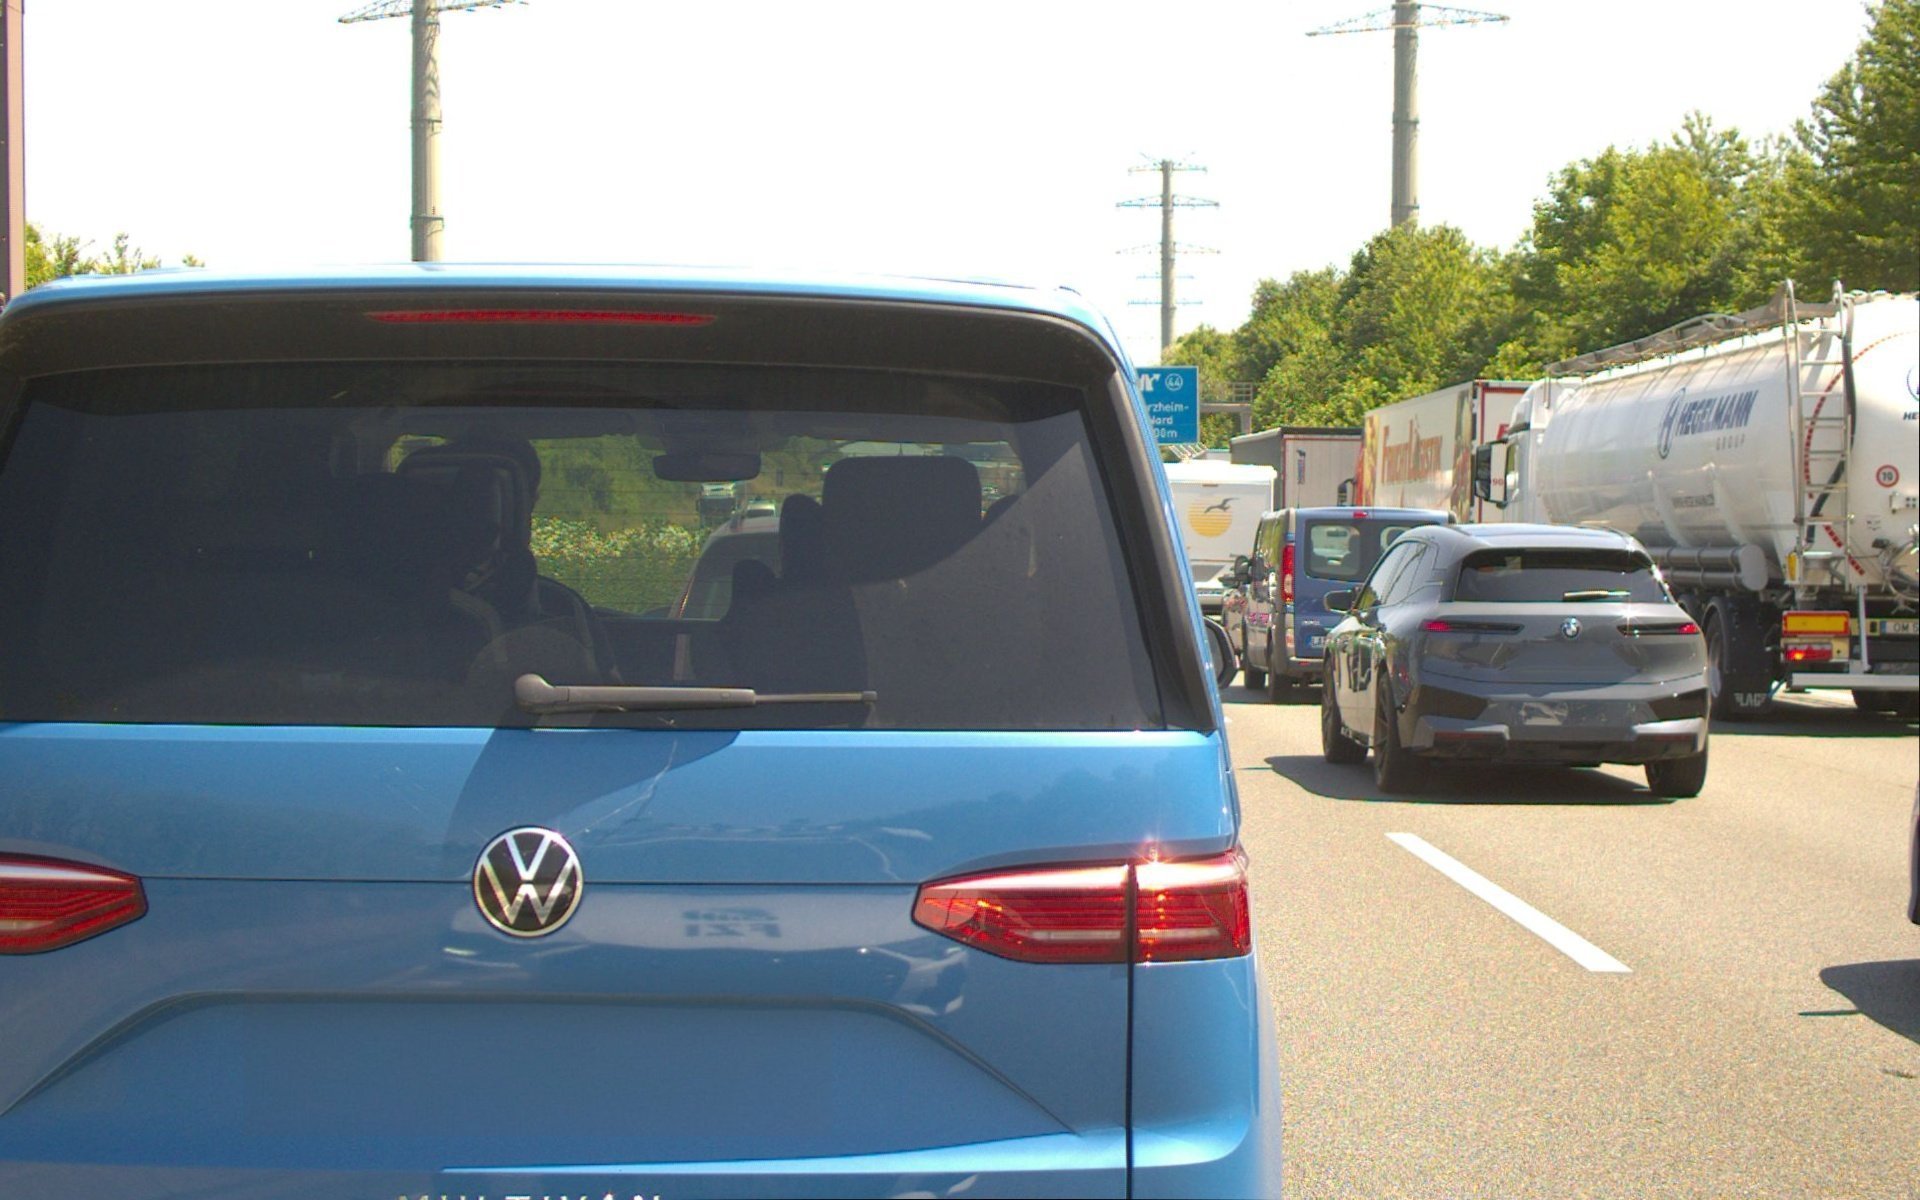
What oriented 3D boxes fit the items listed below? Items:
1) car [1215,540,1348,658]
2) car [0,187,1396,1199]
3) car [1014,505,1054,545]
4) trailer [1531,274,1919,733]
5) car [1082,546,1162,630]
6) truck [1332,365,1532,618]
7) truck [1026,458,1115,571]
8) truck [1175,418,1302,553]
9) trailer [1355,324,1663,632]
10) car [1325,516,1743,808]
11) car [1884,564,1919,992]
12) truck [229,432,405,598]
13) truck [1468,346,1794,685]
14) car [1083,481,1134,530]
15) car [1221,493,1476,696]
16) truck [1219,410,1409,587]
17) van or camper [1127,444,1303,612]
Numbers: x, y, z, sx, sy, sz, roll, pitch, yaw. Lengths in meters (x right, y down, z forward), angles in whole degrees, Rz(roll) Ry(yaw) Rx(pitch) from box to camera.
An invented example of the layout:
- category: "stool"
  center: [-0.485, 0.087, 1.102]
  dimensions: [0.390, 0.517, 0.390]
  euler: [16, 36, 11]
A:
- category: "car"
  center: [4.106, -0.016, 44.297]
  dimensions: [1.360, 1.415, 3.884]
  euler: [-1, 0, 1]
- category: "car"
  center: [-0.502, 0.458, 5.807]
  dimensions: [1.920, 1.880, 4.000]
  euler: [1, 1, 0]
- category: "car"
  center: [3.994, -4.024, 186.031]
  dimensions: [1.993, 2.118, 4.000]
  euler: [0, 0, -1]
- category: "trailer"
  center: [8.133, -0.890, 34.498]
  dimensions: [2.761, 3.831, 11.487]
  euler: [0, 1, -1]
- category: "car"
  center: [4.003, -0.296, 85.377]
  dimensions: [1.836, 1.992, 4.000]
  euler: [-1, 0, 1]
- category: "truck"
  center: [8.621, -1.947, 63.327]
  dimensions: [2.912, 4.453, 5.143]
  euler: [0, 1, -1]
- category: "truck"
  center: [3.784, -2.888, 119.677]
  dimensions: [2.895, 3.753, 10.140]
  euler: [0, 1, 1]
- category: "truck"
  center: [8.305, -3.327, 104.118]
  dimensions: [2.895, 3.753, 13.345]
  euler: [0, 1, 1]
- category: "trailer"
  center: [8.670, -1.855, 55.996]
  dimensions: [2.912, 4.453, 12.155]
  euler: [0, 1, -1]
- category: "car"
  center: [3.630, 0.362, 22.586]
  dimensions: [1.999, 1.709, 4.625]
  euler: [0, 0, 1]
- category: "car"
  center: [4.190, 0.612, 10.320]
  dimensions: [1.817, 1.480, 4.000]
  euler: [0, 0, 1]
- category: "truck"
  center: [-14.748, -1.935, 79.252]
  dimensions: [3.071, 3.697, 5.463]
  euler: [0, 1, -1]
- category: "truck"
  center: [8.022, -0.994, 41.762]
  dimensions: [2.793, 3.823, 5.572]
  euler: [0, 1, -1]
- category: "car"
  center: [6.238, -3.959, 144.615]
  dimensions: [1.993, 2.007, 4.000]
  euler: [0, 0, 0]
- category: "car"
  center: [3.928, -0.057, 35.439]
  dimensions: [1.923, 1.919, 4.236]
  euler: [-1, 0, -3]
- category: "truck"
  center: [8.117, -2.226, 80.885]
  dimensions: [3.006, 3.753, 15.713]
  euler: [0, 1, 1]
- category: "van or camper"
  center: [4.756, -1.324, 65.297]
  dimensions: [2.957, 3.011, 7.102]
  euler: [0, 0, 1]
